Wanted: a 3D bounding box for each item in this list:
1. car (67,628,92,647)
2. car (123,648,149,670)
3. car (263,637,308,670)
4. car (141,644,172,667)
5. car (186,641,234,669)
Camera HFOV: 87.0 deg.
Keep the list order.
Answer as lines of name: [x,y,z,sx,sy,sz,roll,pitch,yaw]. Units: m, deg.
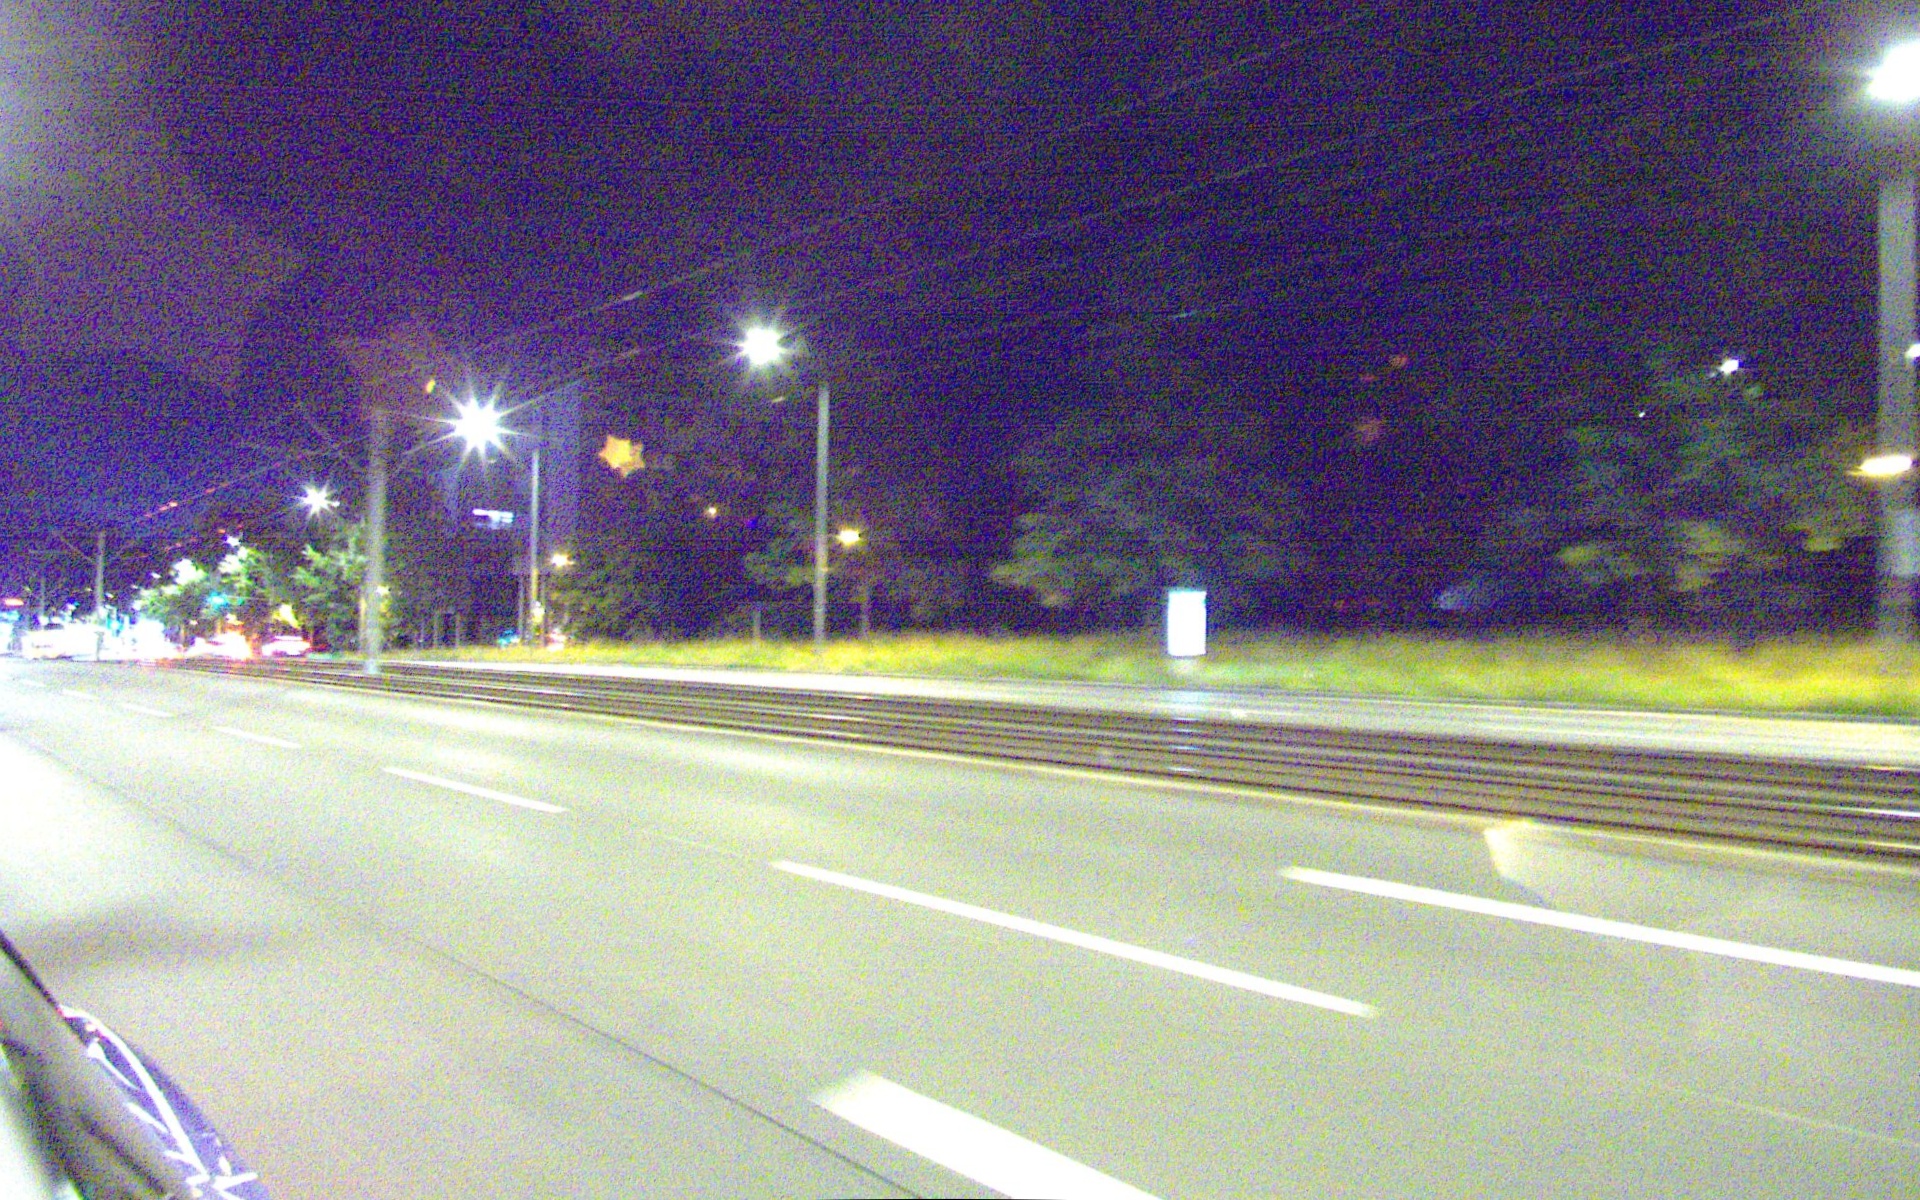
car: [-94.360,4.016,108.469,1.769,1.921,4.003,-1,0,-44]
car: [-85.599,6.127,105.076,1.769,2.029,4.003,-1,0,-44]
car: [-44.854,3.521,67.264,2.029,2.029,4.007,-1,0,-40]
car: [-70.215,4.831,88.399,1.769,1.803,4.003,-1,0,-44]
car: [-51.244,3.736,69.144,3.997,1.751,1.772,-1,0,40]
